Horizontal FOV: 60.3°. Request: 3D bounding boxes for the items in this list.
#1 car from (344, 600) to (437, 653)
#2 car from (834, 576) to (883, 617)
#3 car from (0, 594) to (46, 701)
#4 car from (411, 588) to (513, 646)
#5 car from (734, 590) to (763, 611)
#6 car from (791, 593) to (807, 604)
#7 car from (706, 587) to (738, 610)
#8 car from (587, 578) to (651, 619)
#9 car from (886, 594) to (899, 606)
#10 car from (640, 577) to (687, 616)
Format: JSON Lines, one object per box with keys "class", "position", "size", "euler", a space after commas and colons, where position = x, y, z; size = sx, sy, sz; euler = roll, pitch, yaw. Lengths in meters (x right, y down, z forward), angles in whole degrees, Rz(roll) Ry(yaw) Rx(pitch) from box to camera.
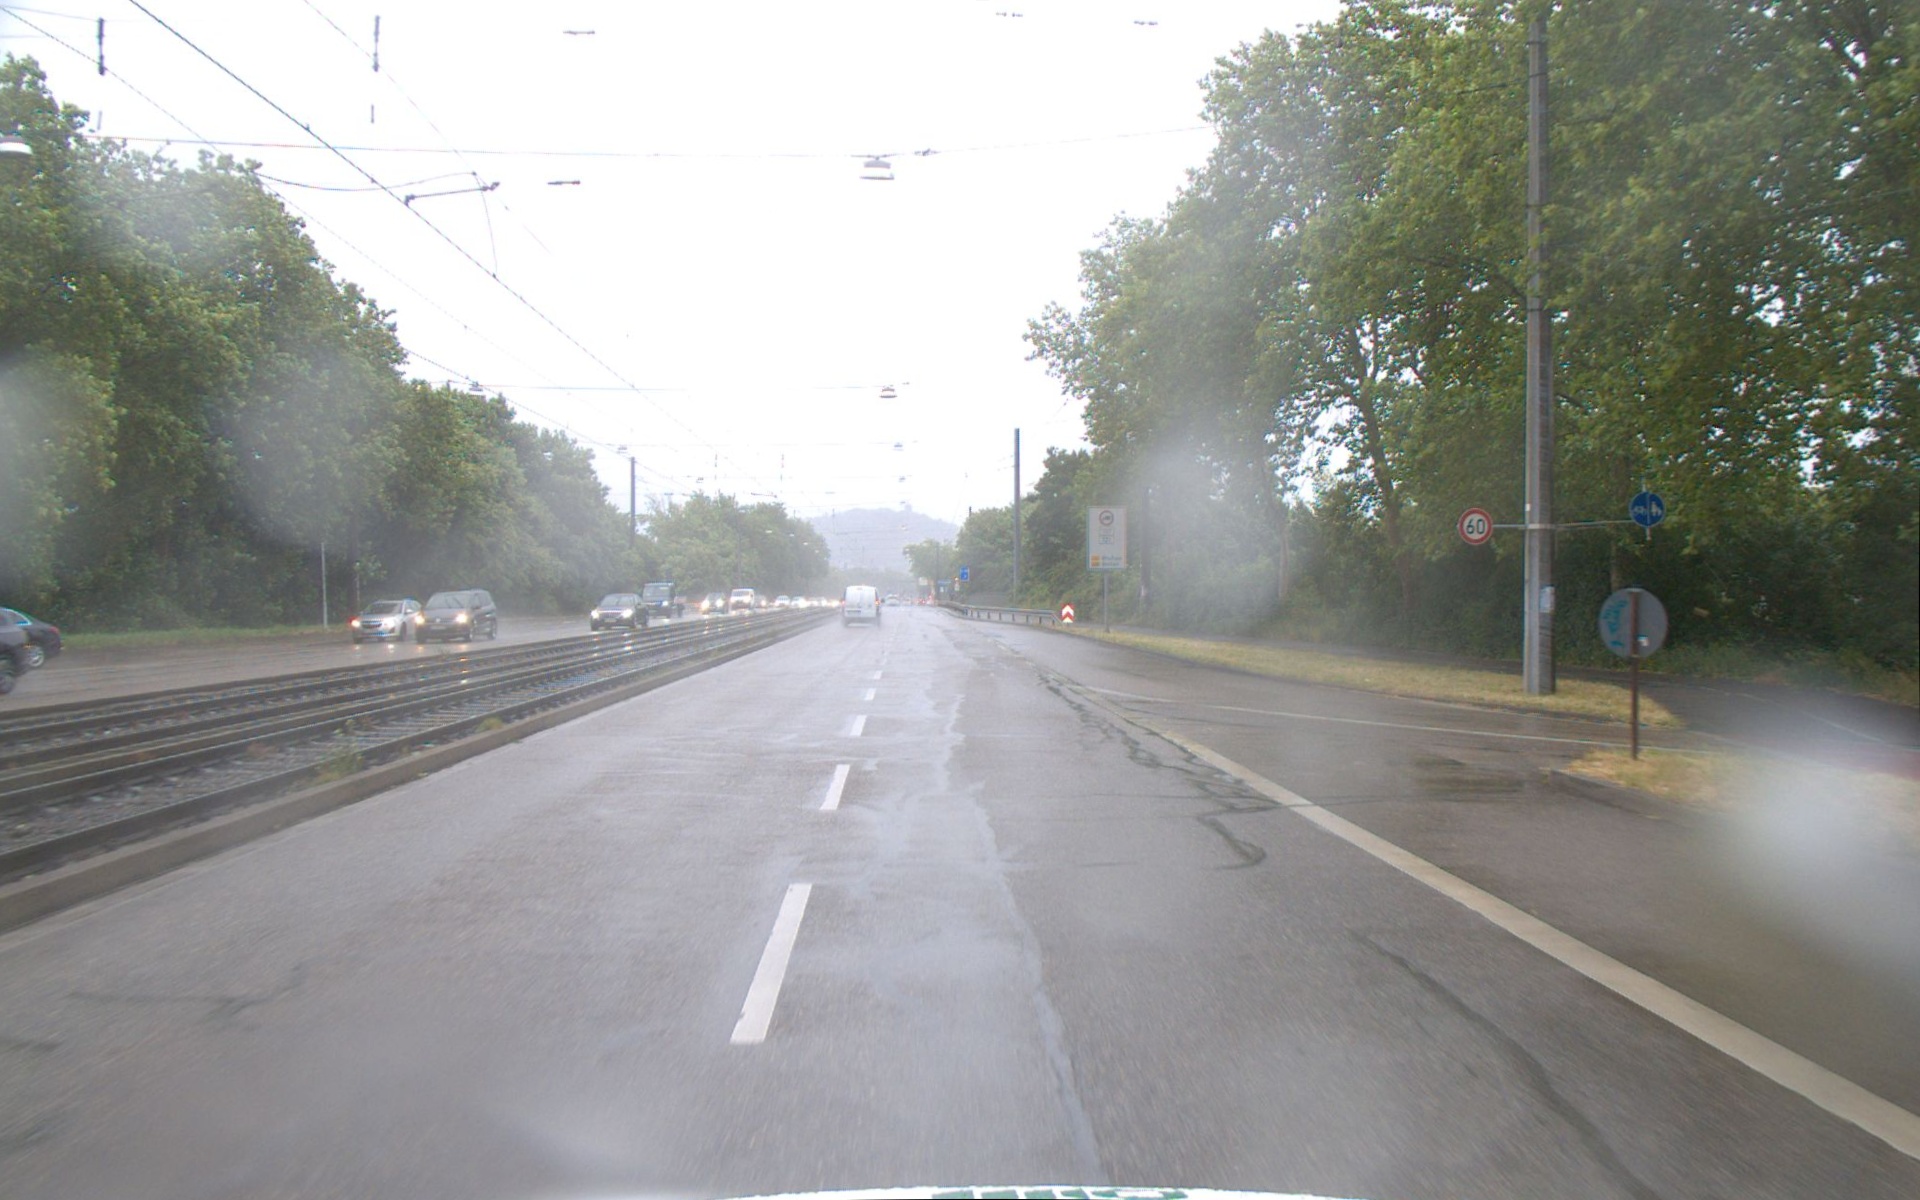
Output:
{"class": "car", "position": [-20.784, 0.924, 60.563], "size": [1.783, 1.735, 5.019], "euler": [1, 1, -2]}
{"class": "car", "position": [-4.509, -0.194, 74.083], "size": [1.949, 1.713, 3.740], "euler": [1, 1, 0]}
{"class": "car", "position": [-15.302, 0.742, 23.491], "size": [1.754, 1.576, 5.313], "euler": [1, 1, -1]}
{"class": "car", "position": [-16.859, 0.531, 56.348], "size": [1.783, 1.735, 6.103], "euler": [1, 1, -2]}
{"class": "car", "position": [-19.771, 0.066, 154.880], "size": [1.998, 1.806, 4.986], "euler": [1, 1, 0]}
{"class": "car", "position": [-22.476, -0.223, 231.029], "size": [1.761, 1.478, 4.194], "euler": [1, 1, -1]}
{"class": "car", "position": [-18.873, -0.145, 131.214], "size": [1.803, 1.746, 4.163], "euler": [1, 1, 1]}
{"class": "car", "position": [-14.734, -0.096, 71.764], "size": [1.740, 1.612, 5.680], "euler": [1, 1, -2]}
{"class": "car", "position": [-9.109, -0.010, 224.345], "size": [1.708, 1.534, 3.699], "euler": [1, 1, -2]}
{"class": "car", "position": [-19.696, -0.258, 110.114], "size": [2.057, 2.383, 6.988], "euler": [1, 1, -2]}
